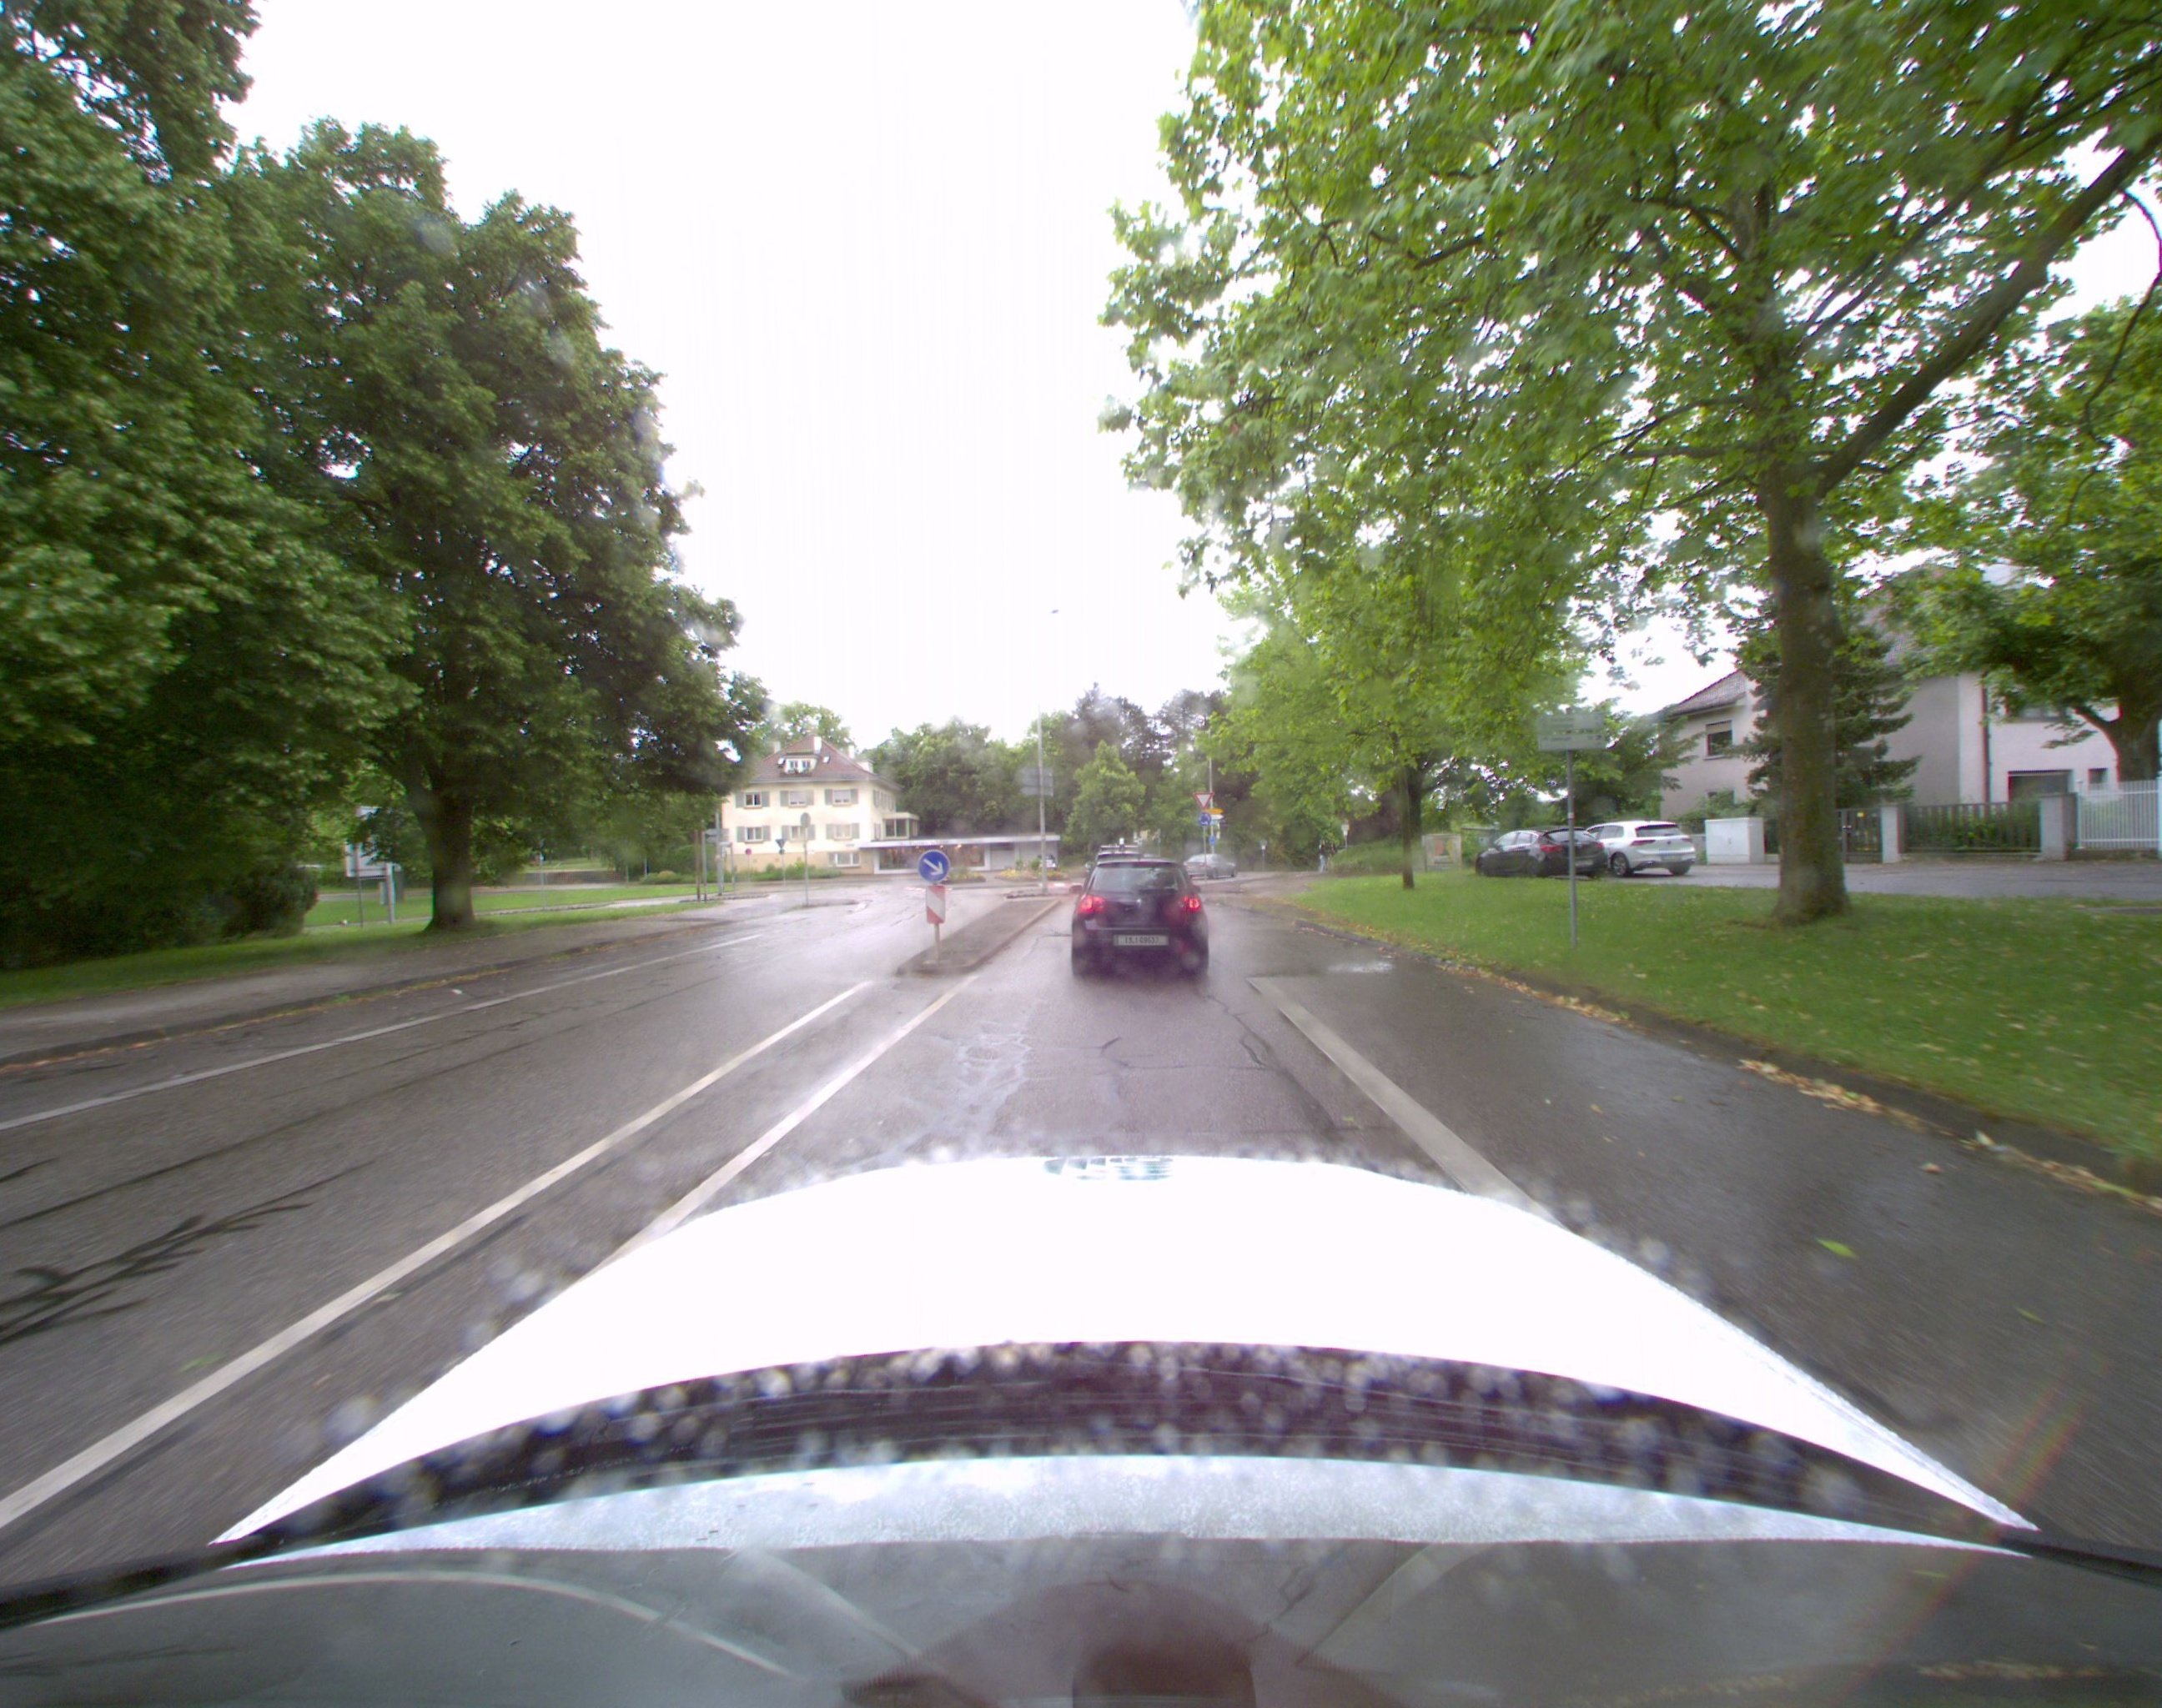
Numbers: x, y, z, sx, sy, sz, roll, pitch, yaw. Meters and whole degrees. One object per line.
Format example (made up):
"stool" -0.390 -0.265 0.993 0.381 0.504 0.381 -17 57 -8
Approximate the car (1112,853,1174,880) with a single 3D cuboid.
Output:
"car" 4.137 0.800 54.756 2.009 1.741 4.097 0 -1 -37

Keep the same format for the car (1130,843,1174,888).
"car" 3.152 0.494 36.345 1.756 1.801 4.252 -3 -1 5

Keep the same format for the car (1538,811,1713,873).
"car" 14.975 -0.282 22.743 1.840 1.471 4.424 -3 -1 -1

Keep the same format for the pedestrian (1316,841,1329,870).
"pedestrian" 14.396 0.067 48.544 0.528 1.713 0.633 0 -1 -13

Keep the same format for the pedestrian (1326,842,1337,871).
"pedestrian" 15.084 0.154 49.044 0.629 1.713 0.532 -1 -1 18

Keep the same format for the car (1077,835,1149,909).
"car" 0.846 0.483 23.026 1.759 1.801 4.246 -3 -1 0

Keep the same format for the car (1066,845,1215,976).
"car" 0.917 0.659 11.628 1.756 1.538 4.007 -1 0 6

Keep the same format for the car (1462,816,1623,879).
"car" 12.525 -0.142 22.493 1.758 1.471 4.597 -4 -1 0

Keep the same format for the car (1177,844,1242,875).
"car" 7.342 0.298 46.169 1.974 1.684 4.058 -1 -1 36

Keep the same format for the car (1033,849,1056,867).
"car" -3.194 0.349 71.067 1.810 1.486 3.824 -3 0 -5
